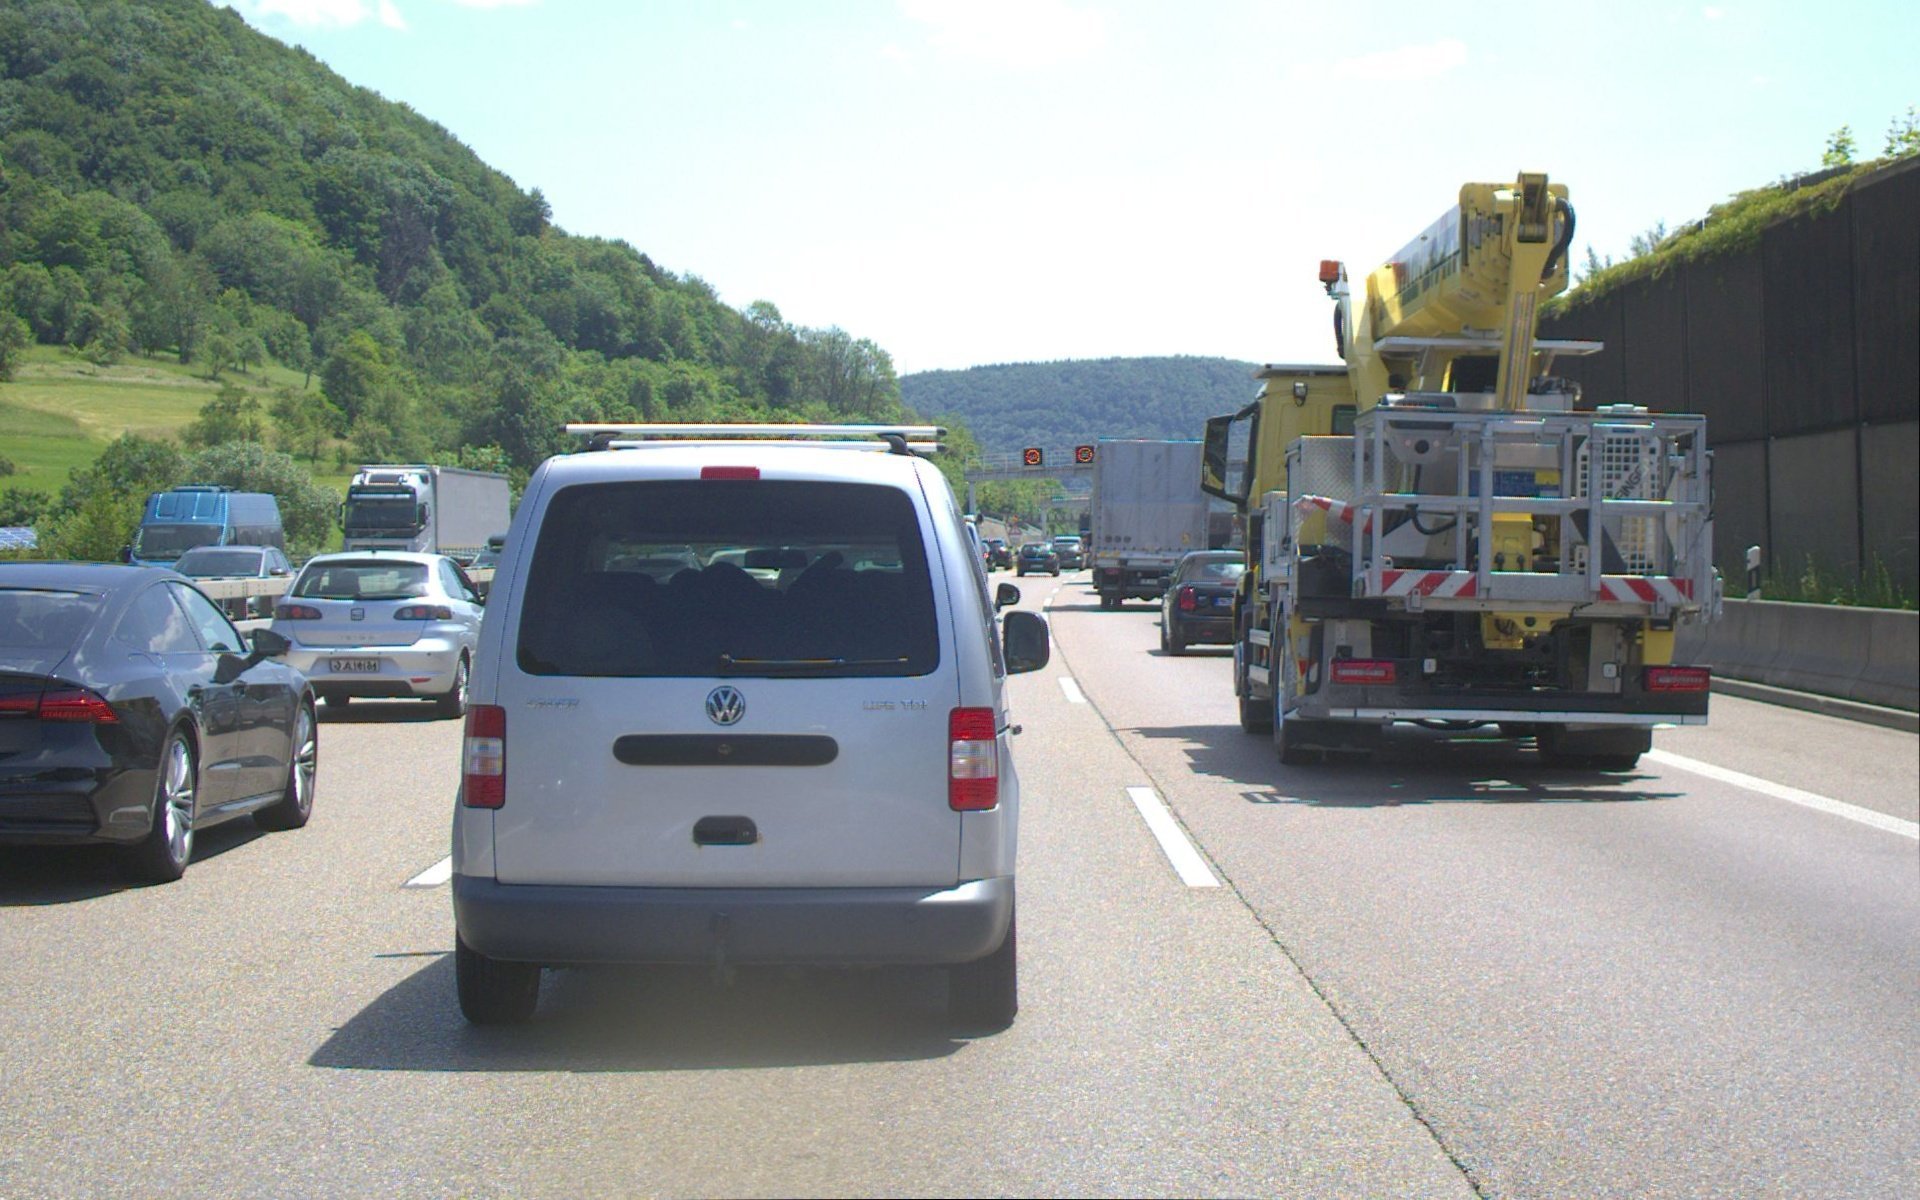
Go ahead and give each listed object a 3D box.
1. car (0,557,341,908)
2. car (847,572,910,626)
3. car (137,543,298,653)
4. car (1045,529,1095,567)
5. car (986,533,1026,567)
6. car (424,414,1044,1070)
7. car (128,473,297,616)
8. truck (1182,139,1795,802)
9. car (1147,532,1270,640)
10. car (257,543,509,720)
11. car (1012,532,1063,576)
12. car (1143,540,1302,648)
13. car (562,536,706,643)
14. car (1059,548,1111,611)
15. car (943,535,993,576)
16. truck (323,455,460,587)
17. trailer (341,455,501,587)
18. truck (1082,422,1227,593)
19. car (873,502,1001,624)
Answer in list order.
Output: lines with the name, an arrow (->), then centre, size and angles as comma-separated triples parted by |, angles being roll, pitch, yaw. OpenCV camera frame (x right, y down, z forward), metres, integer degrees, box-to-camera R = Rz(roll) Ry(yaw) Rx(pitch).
car -> -4.274, 0.506, 16.370 | 1.800, 1.385, 4.970 | 0, 1, -1
car -> -2.861, -0.057, 121.573 | 2.114, 1.821, 4.000 | 1, 1, 0
car -> -12.019, -0.061, 55.885 | 1.846, 1.703, 4.284 | 0, 1, -2
car -> 5.338, -2.514, 167.487 | 2.114, 1.821, 4.000 | 1, 1, -3
car -> 2.487, -2.714, 186.069 | 1.993, 1.799, 4.000 | 1, 1, -1
car -> -0.729, 0.364, 11.781 | 1.756, 1.861, 4.001 | 0, 1, -3
car -> -15.680, -1.158, 72.483 | 2.155, 2.852, 6.399 | 1, 1, 0
truck -> 3.424, -0.849, 24.781 | 2.703, 3.929, 8.723 | 0, 1, -3
car -> 4.730, -0.306, 65.891 | 1.993, 2.007, 4.000 | 0, 1, -1
car -> -4.997, 0.225, 30.194 | 1.695, 1.440, 3.862 | 0, 1, -2
car -> 3.176, -1.860, 140.801 | 1.993, 1.743, 4.000 | 1, 1, 0
car -> 3.646, -0.111, 48.263 | 1.786, 1.453, 3.771 | 0, 1, -3
car -> -4.795, -0.185, 51.006 | 1.924, 1.494, 4.001 | 1, 1, -3
car -> 4.619, -0.773, 127.550 | 1.673, 2.287, 4.000 | 1, 0, -1
car -> 0.357, -2.074, 160.677 | 2.114, 1.821, 4.000 | 1, 1, -3
truck -> -18.387, -2.524, 111.632 | 3.278, 4.133, 6.955 | 0, 1, 0
trailer -> -18.276, -2.610, 117.525 | 3.247, 4.190, 13.000 | 1, 1, 1
truck -> 4.526, -2.128, 81.577 | 2.940, 3.810, 8.237 | 1, 1, 0
car -> -0.419, -0.635, 57.605 | 1.993, 1.969, 4.001 | 0, 1, -3
